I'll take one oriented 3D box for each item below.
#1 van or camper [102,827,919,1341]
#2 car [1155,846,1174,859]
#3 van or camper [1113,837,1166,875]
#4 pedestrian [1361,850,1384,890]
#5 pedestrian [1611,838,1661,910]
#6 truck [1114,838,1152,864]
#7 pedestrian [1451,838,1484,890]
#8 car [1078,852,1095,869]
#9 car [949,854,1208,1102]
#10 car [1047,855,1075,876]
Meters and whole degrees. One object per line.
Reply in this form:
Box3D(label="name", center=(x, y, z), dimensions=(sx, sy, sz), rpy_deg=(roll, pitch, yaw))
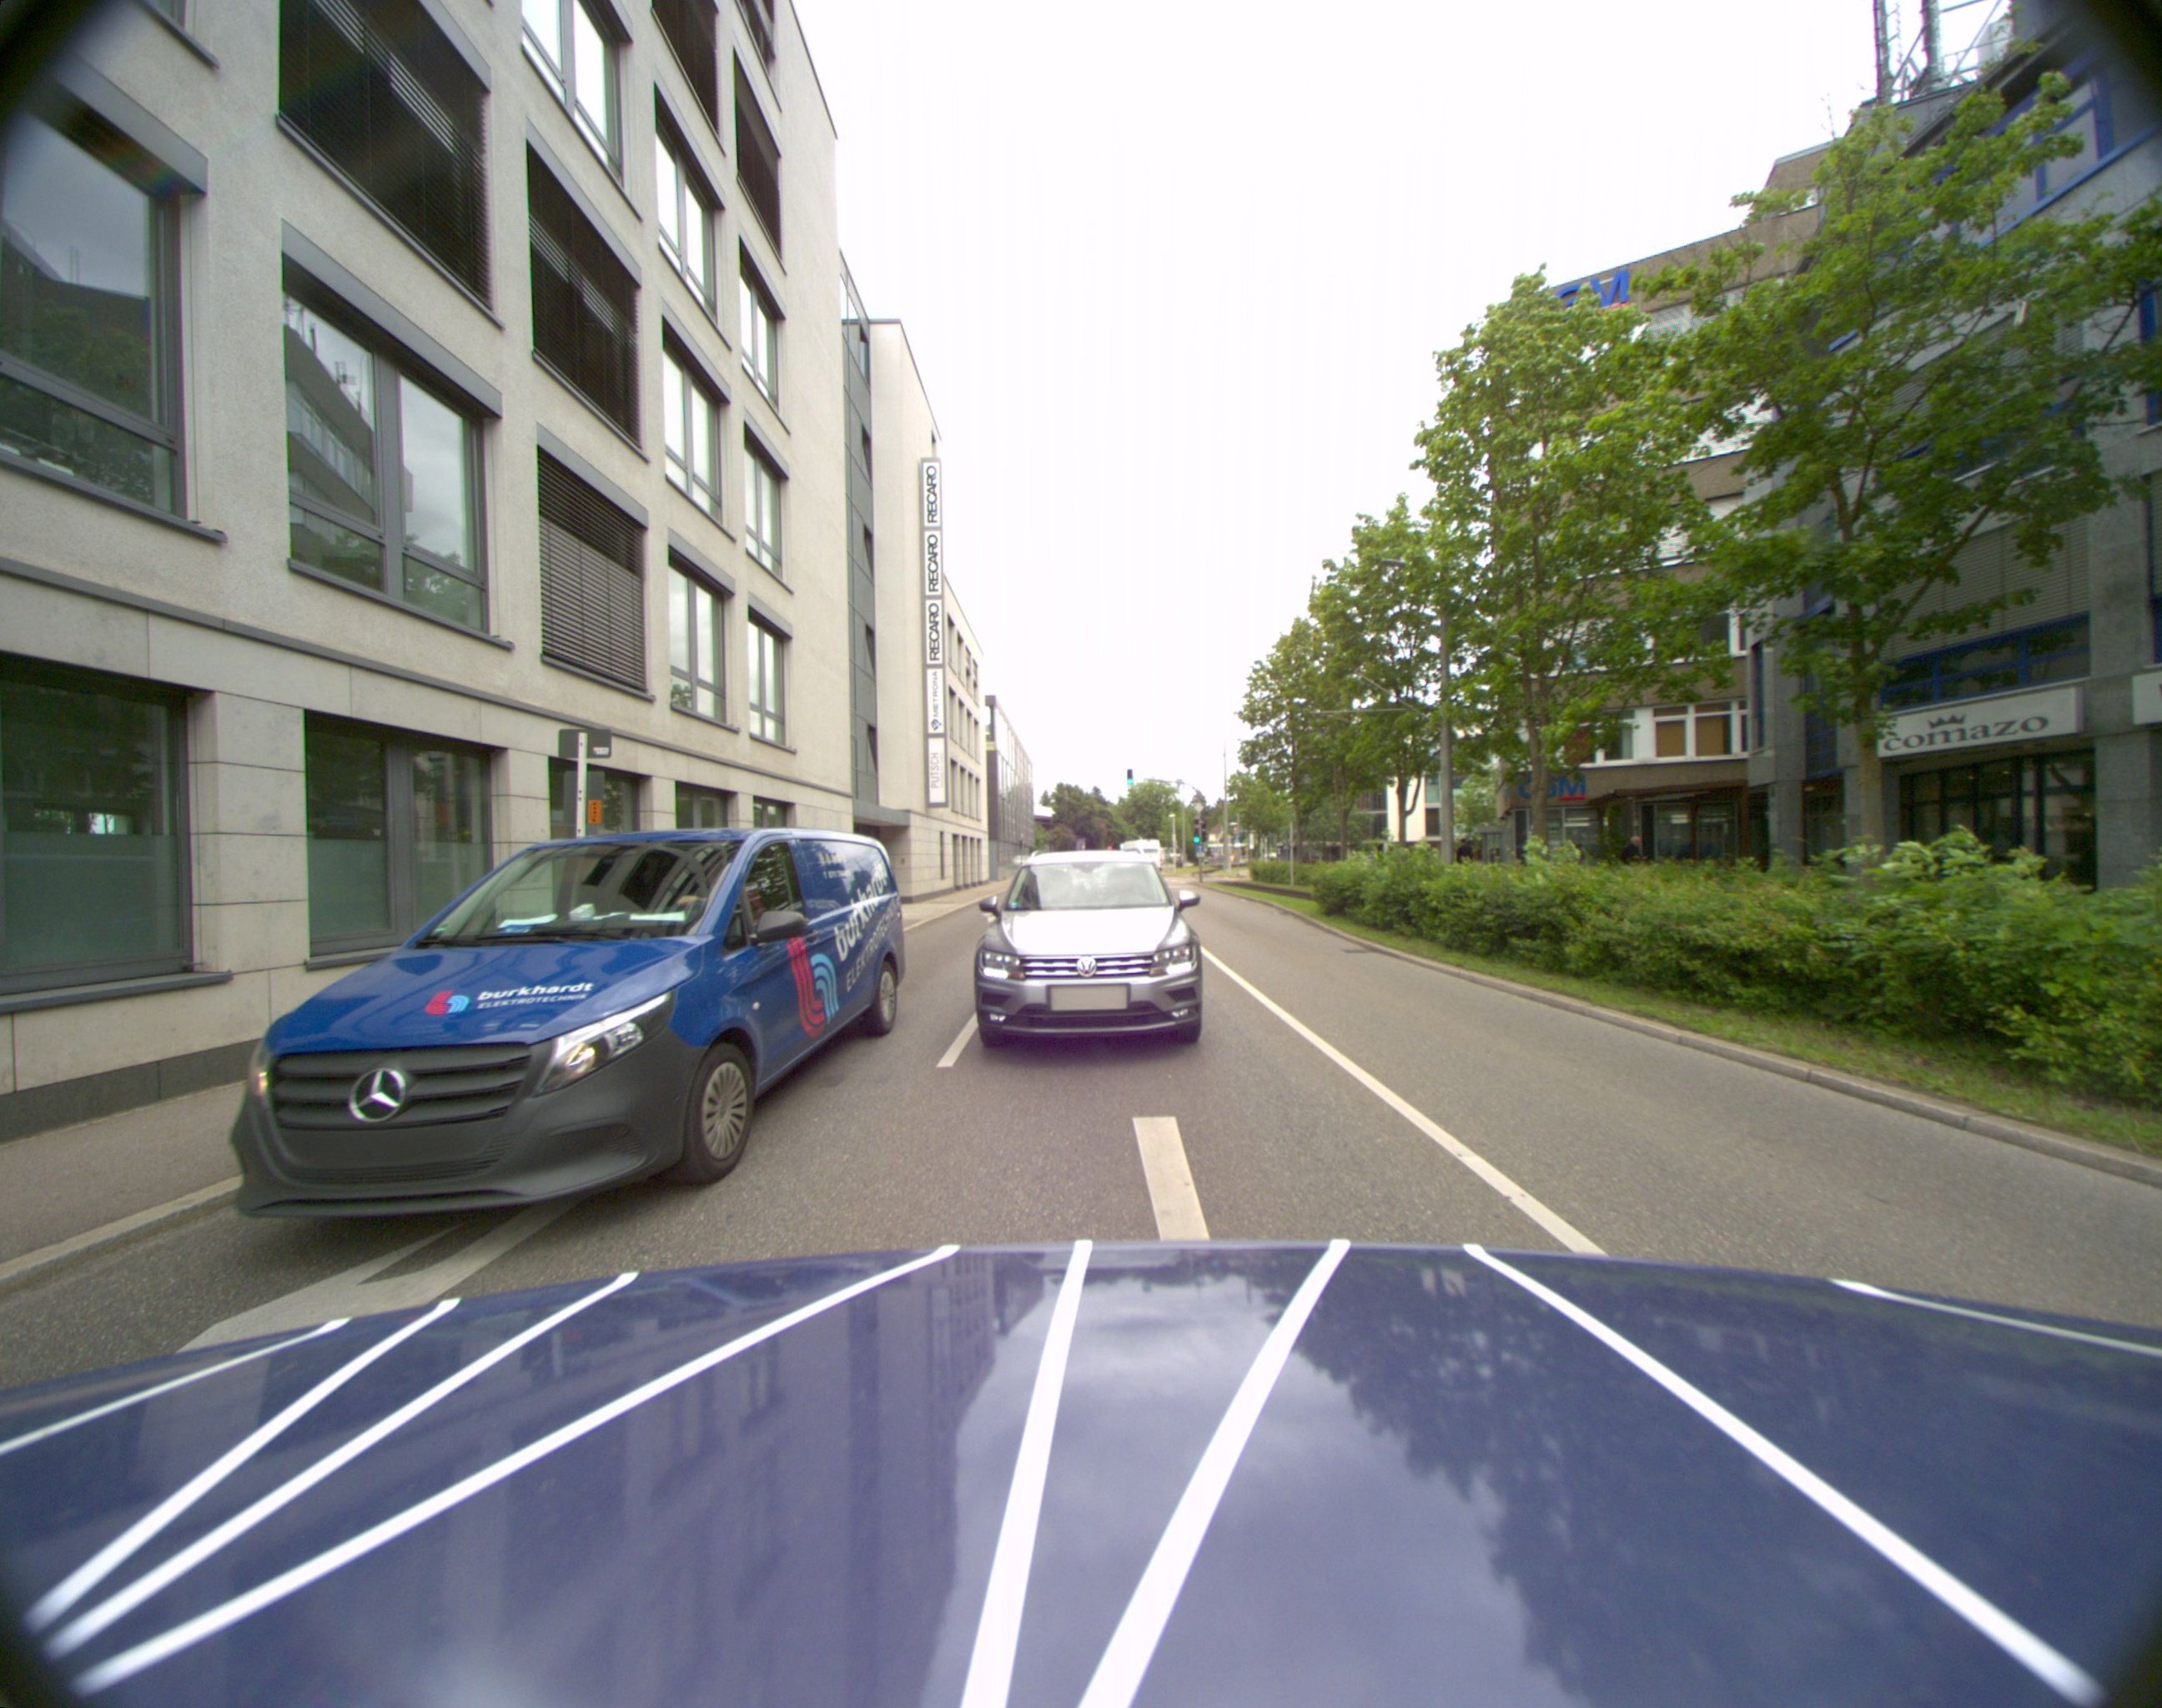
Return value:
Box3D(label="van or camper", center=(-2.671, 0.861, 5.360), dimensions=(1.864, 1.900, 5.032), rpy_deg=(-1, 0, 1))
Box3D(label="car", center=(14.121, -0.243, 128.044), dimensions=(1.995, 2.002, 4.006), rpy_deg=(-1, 1, 24))
Box3D(label="van or camper", center=(4.465, 0.110, 58.853), dimensions=(2.115, 2.718, 6.143), rpy_deg=(-2, 1, -15))
Box3D(label="pedestrian", center=(13.209, 0.715, 34.430), dimensions=(0.680, 1.795, 0.731), rpy_deg=(-2, 1, -4))
Box3D(label="pedestrian", center=(14.938, 0.514, 20.463), dimensions=(0.776, 1.883, 0.731), rpy_deg=(-2, 1, 0))
Box3D(label="truck", center=(8.098, -0.495, 116.923), dimensions=(2.317, 3.626, 8.024), rpy_deg=(-1, 1, 31))
Box3D(label="pedestrian", center=(14.453, 0.368, 28.451), dimensions=(0.816, 1.912, 0.731), rpy_deg=(-2, 1, 0))
Box3D(label="car", center=(0.744, 0.781, 96.117), dimensions=(1.998, 2.002, 4.000), rpy_deg=(-2, 1, 1))
Box3D(label="car", center=(0.017, 0.878, 7.608), dimensions=(1.798, 1.716, 4.458), rpy_deg=(-1, 0, 1))
Box3D(label="car", center=(-1.518, 0.855, 58.057), dimensions=(1.890, 1.483, 4.000), rpy_deg=(-4, 0, 1))
